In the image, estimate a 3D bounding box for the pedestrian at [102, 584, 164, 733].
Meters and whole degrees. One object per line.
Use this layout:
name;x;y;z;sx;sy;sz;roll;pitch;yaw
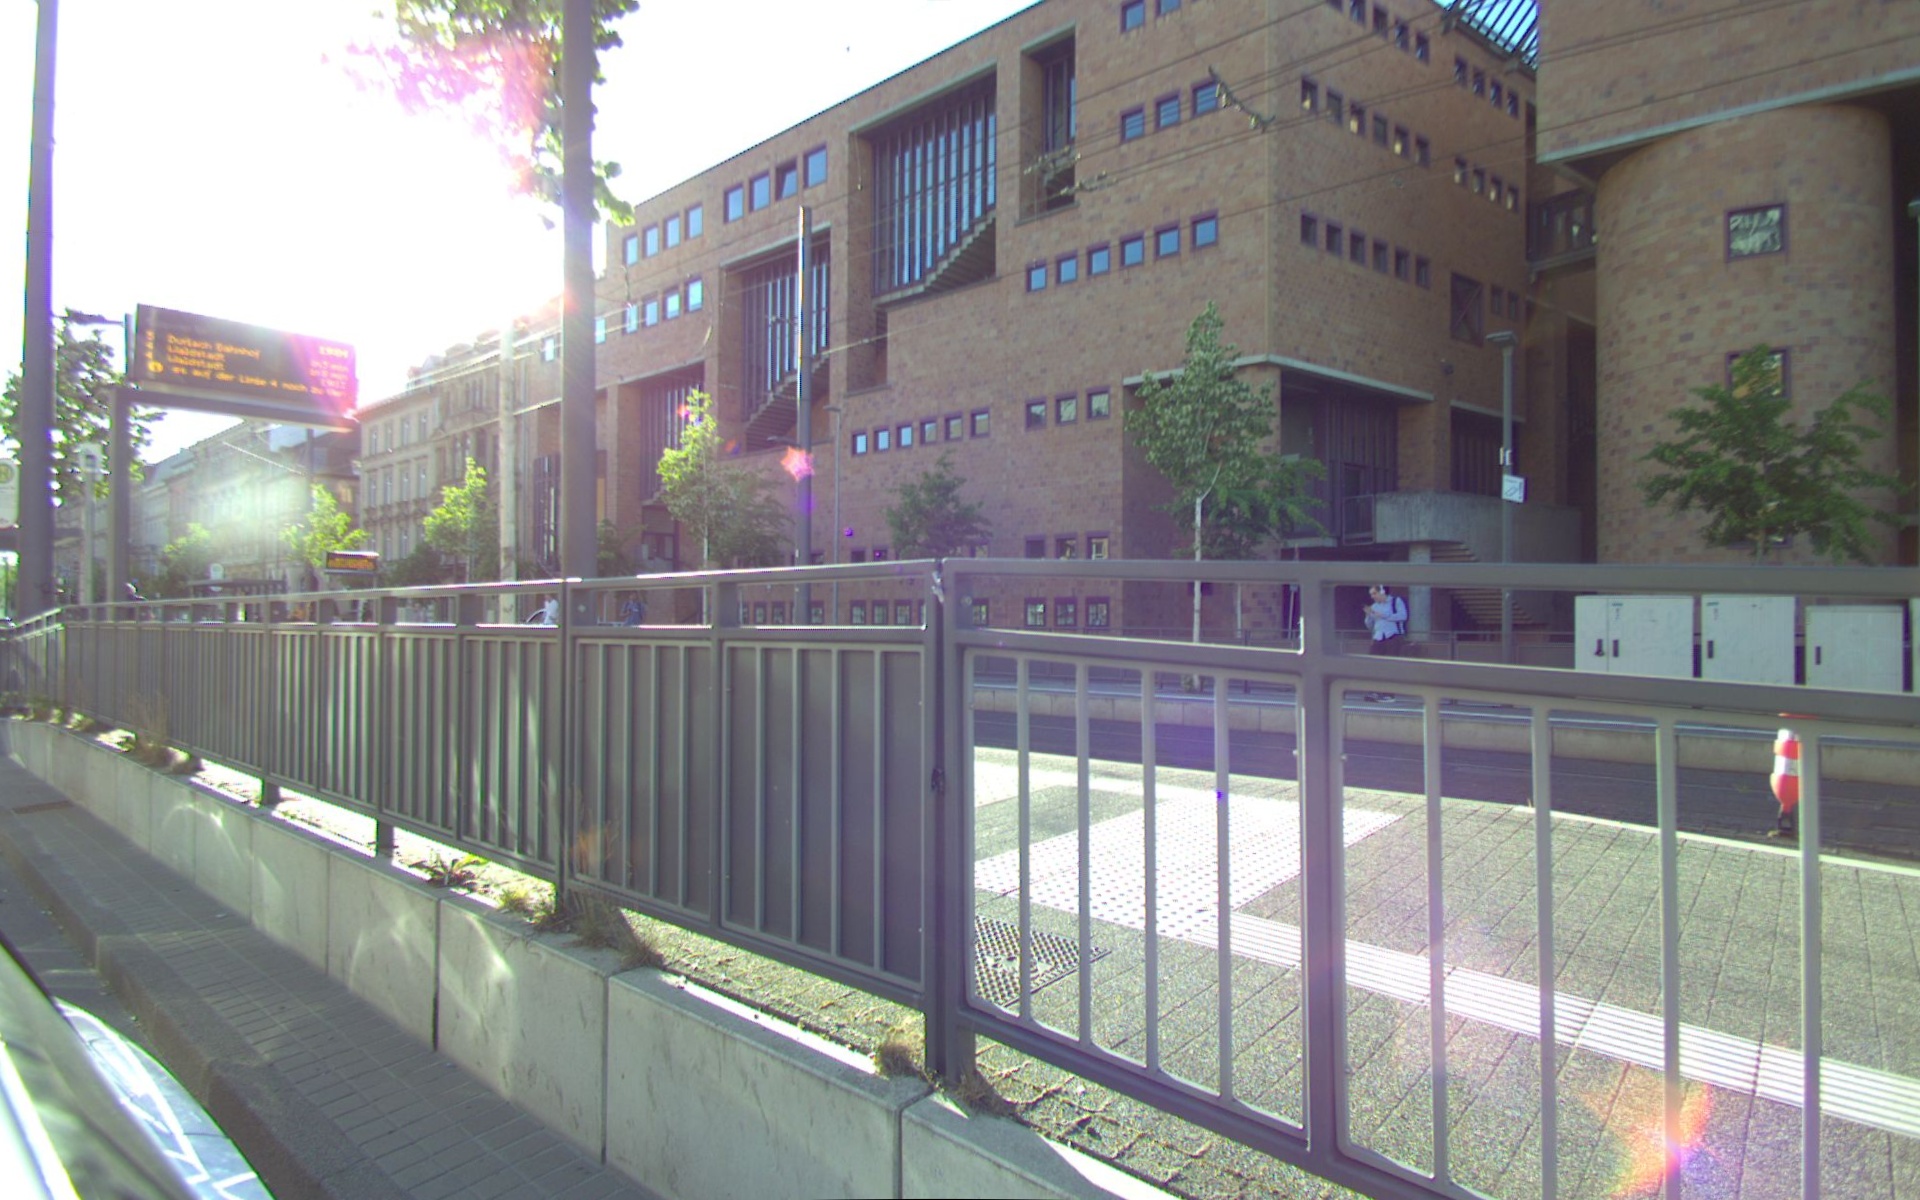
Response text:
pedestrian;-14.017;0.961;17.160;0.625;2.461;0.676;0;0;38

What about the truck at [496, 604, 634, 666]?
truck;-13.089;1.162;33.411;5.151;1.894;1.973;-2;-4;40

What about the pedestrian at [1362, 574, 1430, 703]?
pedestrian;5.797;0.491;13.456;0.684;1.647;0.660;0;0;37

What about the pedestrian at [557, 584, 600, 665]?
pedestrian;-8.757;0.556;23.237;0.668;1.821;0.677;0;0;40

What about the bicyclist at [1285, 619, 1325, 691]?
bicyclist;7.588;1.189;22.247;0.650;1.545;0.580;0;0;41

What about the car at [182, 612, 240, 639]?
car;-45.741;1.525;61.786;4.691;1.580;1.806;0;-2;40
